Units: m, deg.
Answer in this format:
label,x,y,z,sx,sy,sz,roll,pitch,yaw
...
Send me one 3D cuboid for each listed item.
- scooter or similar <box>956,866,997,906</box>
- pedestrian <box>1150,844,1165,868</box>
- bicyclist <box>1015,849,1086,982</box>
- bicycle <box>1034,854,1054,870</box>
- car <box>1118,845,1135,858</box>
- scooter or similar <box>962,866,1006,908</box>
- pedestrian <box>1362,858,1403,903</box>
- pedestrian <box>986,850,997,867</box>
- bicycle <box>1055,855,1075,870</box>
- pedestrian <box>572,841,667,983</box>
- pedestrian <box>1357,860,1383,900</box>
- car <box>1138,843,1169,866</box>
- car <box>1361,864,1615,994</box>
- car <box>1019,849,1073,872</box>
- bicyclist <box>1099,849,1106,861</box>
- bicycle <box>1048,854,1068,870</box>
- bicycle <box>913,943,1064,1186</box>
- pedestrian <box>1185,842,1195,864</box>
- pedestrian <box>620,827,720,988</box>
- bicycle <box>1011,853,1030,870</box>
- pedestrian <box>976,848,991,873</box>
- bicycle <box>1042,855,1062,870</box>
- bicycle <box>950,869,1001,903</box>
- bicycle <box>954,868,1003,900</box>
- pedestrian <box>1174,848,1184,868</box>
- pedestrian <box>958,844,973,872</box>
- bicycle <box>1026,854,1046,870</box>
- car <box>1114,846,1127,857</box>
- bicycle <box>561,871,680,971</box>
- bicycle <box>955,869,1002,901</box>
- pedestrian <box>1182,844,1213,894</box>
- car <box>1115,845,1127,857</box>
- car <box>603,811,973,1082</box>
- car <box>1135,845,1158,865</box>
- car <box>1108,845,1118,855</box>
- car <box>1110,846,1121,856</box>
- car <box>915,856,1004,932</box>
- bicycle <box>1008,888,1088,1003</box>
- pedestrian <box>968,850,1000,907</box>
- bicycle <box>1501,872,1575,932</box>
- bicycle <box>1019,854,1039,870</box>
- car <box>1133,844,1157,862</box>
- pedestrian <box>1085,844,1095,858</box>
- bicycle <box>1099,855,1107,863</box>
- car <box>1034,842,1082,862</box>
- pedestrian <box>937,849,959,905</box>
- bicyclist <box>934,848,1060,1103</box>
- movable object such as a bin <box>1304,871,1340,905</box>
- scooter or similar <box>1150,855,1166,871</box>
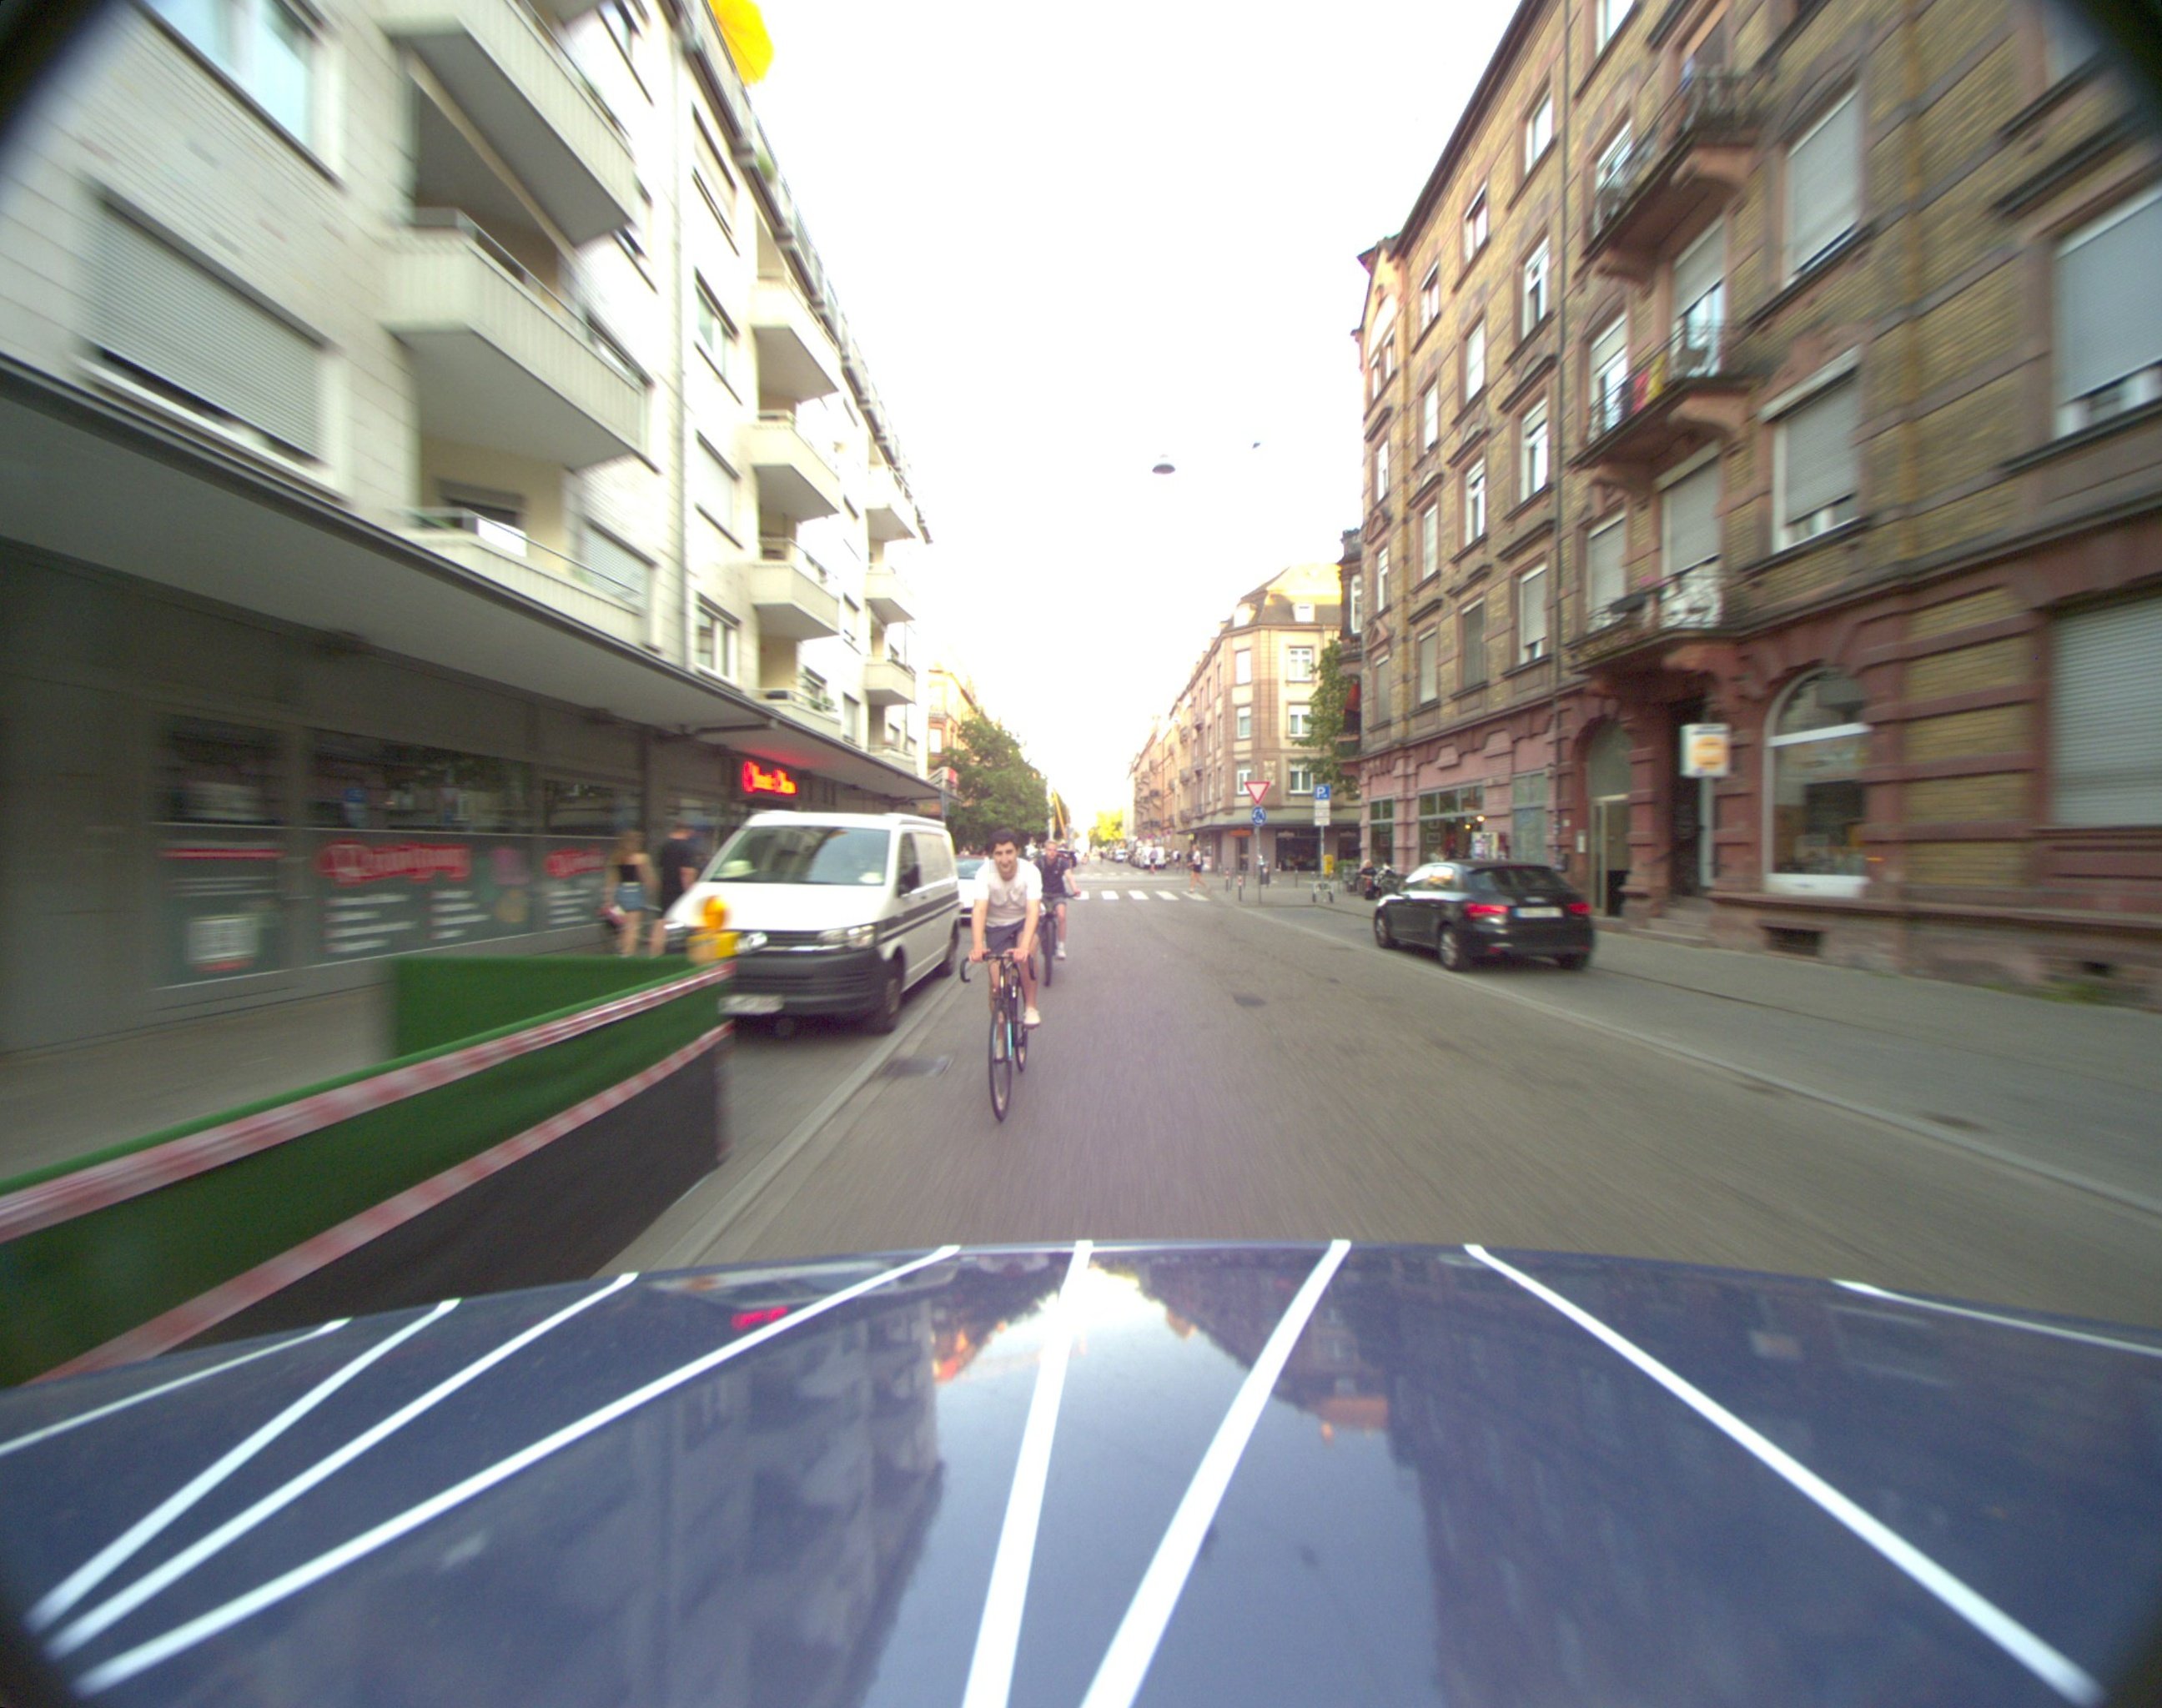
label,x,y,z,sx,sy,sz,roll,pitch,yaw
scooter or similar,-3.086,0.933,22.491,1.163,1.164,0.537,1,-1,-7
pedestrian,5.256,0.134,52.258,0.810,1.650,0.672,0,1,-9
bicyclist,-0.358,0.726,9.434,0.794,1.562,0.826,-1,1,2
bicycle,-2.862,0.623,58.849,0.666,1.125,2.111,1,1,-27
car,6.462,-0.382,108.841,2.141,1.811,4.539,-1,1,0
scooter or similar,-2.762,0.927,21.727,0.535,1.164,1.166,0,-1,39
pedestrian,8.765,0.748,22.123,0.650,1.247,0.907,-4,1,-15
pedestrian,-6.961,0.338,59.015,0.722,1.298,0.750,-1,1,-20
bicycle,-1.235,0.655,59.539,0.666,1.162,2.111,1,1,-27
pedestrian,-5.636,0.679,9.323,0.710,1.656,0.744,1,2,0
pedestrian,8.809,0.784,23.141,0.504,1.137,0.791,-1,2,1
car,6.488,0.027,68.286,2.141,1.947,4.768,-1,1,-1
car,5.482,0.912,10.850,1.697,1.412,3.855,-1,0,3
car,-2.860,0.494,61.960,4.006,1.659,1.823,-2,2,-31
bicyclist,2.942,0.148,103.040,0.754,1.631,1.200,-1,0,-6
bicycle,-1.802,0.641,59.664,0.666,1.162,2.111,1,1,-27
bicycle,-0.512,1.235,4.989,0.658,1.012,1.917,-1,2,2
pedestrian,8.691,-0.067,60.411,0.654,1.768,0.693,-1,0,18
pedestrian,-4.864,0.595,9.047,0.710,1.818,0.860,1,2,0
bicycle,-4.642,0.562,57.888,0.666,1.158,2.111,1,1,-27
pedestrian,-6.450,0.429,50.249,0.537,1.597,0.870,0,0,26
bicycle,-2.288,0.643,59.195,0.666,1.125,2.111,1,1,-27
bicycle,-3.318,0.998,23.907,1.482,0.996,0.511,2,2,6
bicycle,-3.374,0.974,25.004,1.552,0.996,0.510,1,2,-3
pedestrian,8.431,0.322,65.617,0.748,1.734,1.213,-1,1,5
pedestrian,-7.858,0.287,51.690,0.673,1.858,0.911,0,2,14
bicycle,-3.456,0.610,58.490,0.666,1.125,2.111,1,1,-27
car,6.449,-0.426,123.326,1.998,1.729,4.000,-1,2,3
bicycle,-6.304,0.877,10.518,0.913,1.189,1.709,2,1,-14
bicycle,-3.280,0.991,24.359,1.421,0.978,0.510,1,2,-3
pedestrian,4.318,0.548,28.115,1.047,1.800,0.757,-1,-1,11
car,6.766,-0.519,128.330,1.998,1.729,4.000,-1,2,3
car,-2.527,0.671,8.124,1.963,1.962,5.002,1,0,0
car,6.386,0.063,74.425,1.879,1.893,4.326,-1,1,1
car,6.315,-0.834,149.597,1.908,1.729,3.849,-1,2,3
car,6.512,-0.614,143.446,1.868,1.729,3.799,-1,2,3
car,-2.685,0.848,17.490,1.597,1.492,3.422,1,1,-2
bicycle,-0.350,1.048,9.435,0.794,1.133,2.343,-1,0,2
pedestrian,-2.782,0.698,21.752,0.649,1.591,0.590,0,2,-40
bicycle,9.053,0.918,15.129,0.426,1.047,1.898,-1,1,3
bicycle,-3.980,0.579,58.202,0.666,1.158,2.111,1,1,-27
car,6.756,-0.110,80.525,2.141,1.811,4.540,-1,1,1
pedestrian,1.593,-0.539,135.489,1.394,2.465,1.237,0,1,17
bicycle,2.954,0.699,103.045,0.754,1.124,1.975,-1,0,-6
car,-2.701,-0.308,90.598,5.153,2.182,2.333,-2,2,-25
pedestrian,-3.868,0.660,22.156,0.562,1.622,0.726,1,0,-7
bicyclist,-0.513,0.725,4.988,0.650,1.500,0.953,-1,2,2
movable object such as a bin,6.994,0.990,22.081,0.763,0.910,0.729,-1,2,-3
scooter or similar,5.263,0.598,52.208,0.810,1.098,1.171,0,1,-9
